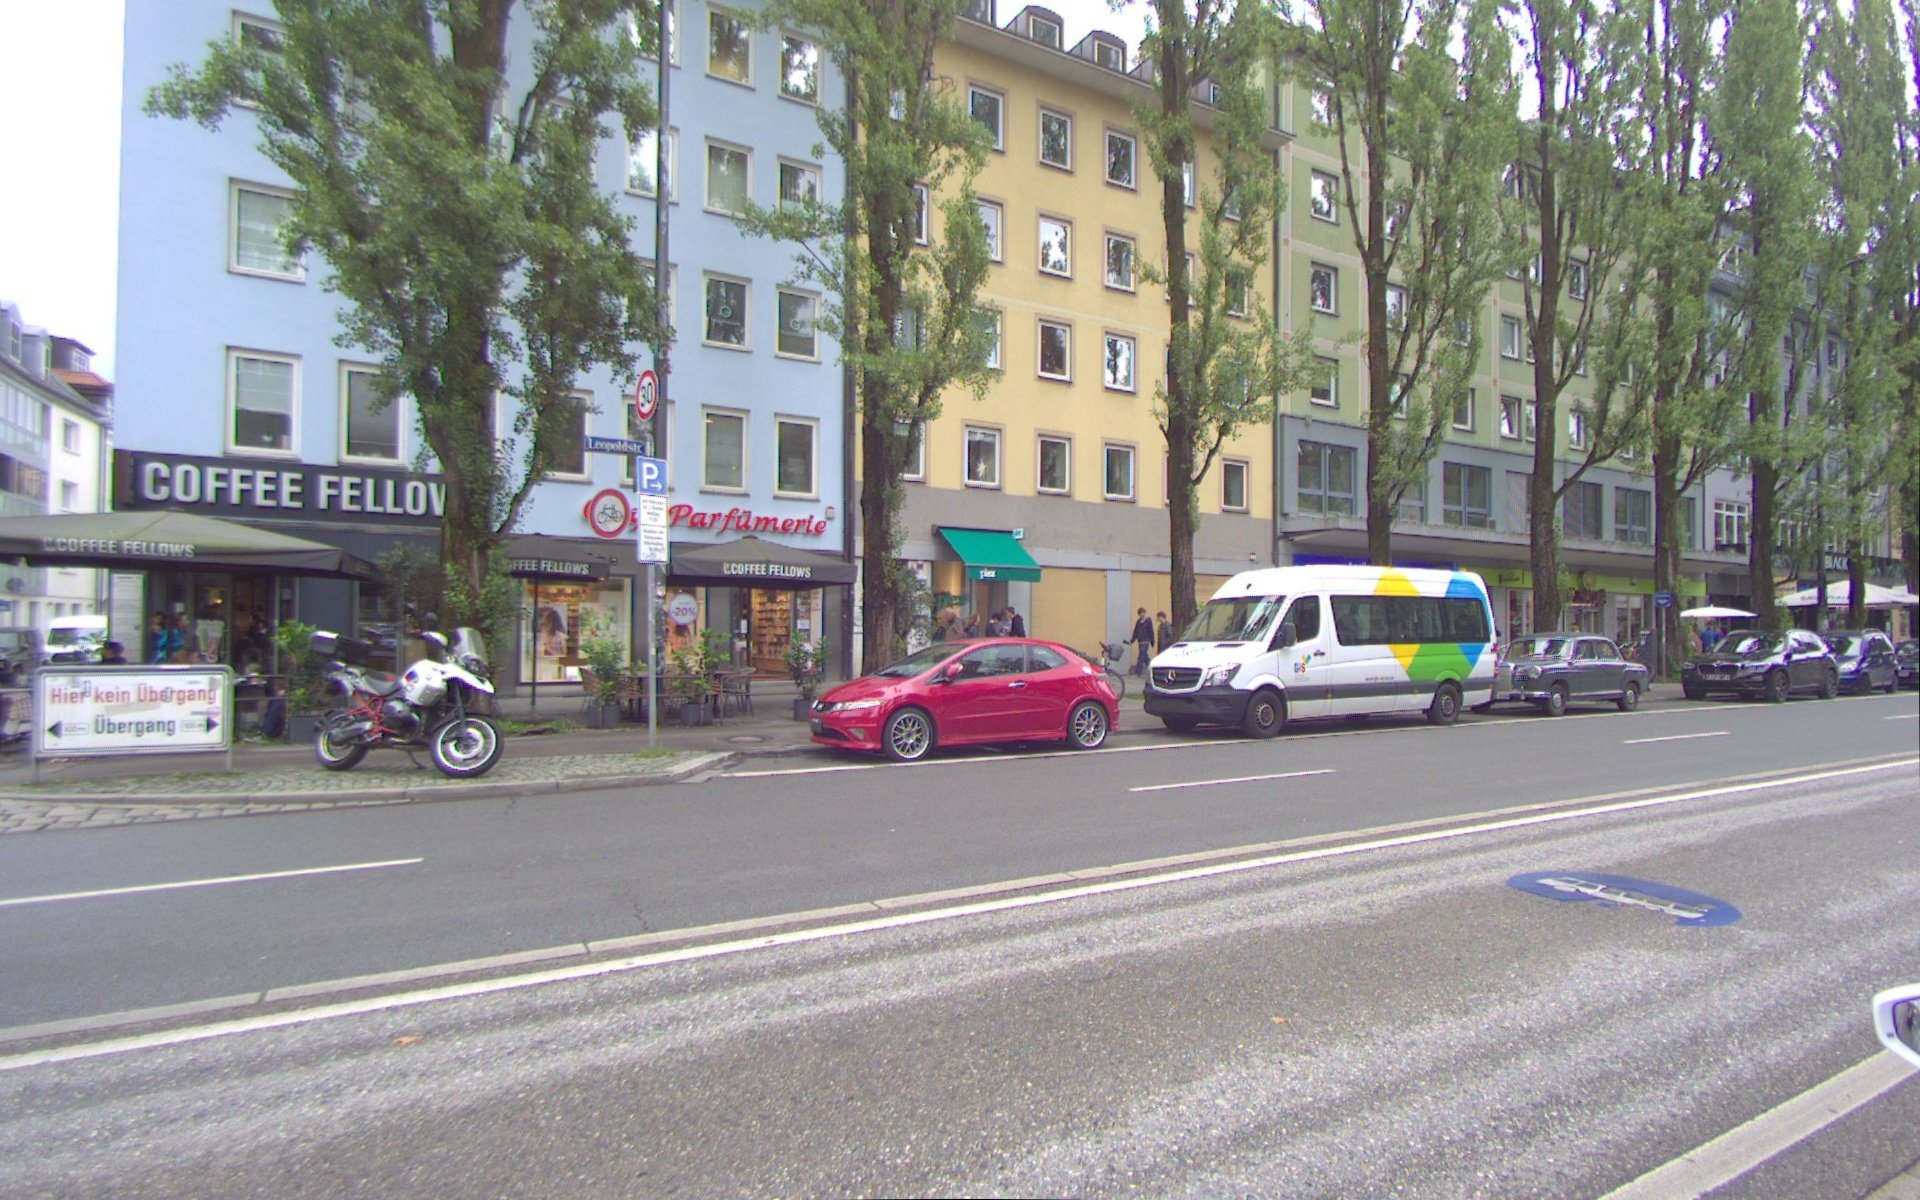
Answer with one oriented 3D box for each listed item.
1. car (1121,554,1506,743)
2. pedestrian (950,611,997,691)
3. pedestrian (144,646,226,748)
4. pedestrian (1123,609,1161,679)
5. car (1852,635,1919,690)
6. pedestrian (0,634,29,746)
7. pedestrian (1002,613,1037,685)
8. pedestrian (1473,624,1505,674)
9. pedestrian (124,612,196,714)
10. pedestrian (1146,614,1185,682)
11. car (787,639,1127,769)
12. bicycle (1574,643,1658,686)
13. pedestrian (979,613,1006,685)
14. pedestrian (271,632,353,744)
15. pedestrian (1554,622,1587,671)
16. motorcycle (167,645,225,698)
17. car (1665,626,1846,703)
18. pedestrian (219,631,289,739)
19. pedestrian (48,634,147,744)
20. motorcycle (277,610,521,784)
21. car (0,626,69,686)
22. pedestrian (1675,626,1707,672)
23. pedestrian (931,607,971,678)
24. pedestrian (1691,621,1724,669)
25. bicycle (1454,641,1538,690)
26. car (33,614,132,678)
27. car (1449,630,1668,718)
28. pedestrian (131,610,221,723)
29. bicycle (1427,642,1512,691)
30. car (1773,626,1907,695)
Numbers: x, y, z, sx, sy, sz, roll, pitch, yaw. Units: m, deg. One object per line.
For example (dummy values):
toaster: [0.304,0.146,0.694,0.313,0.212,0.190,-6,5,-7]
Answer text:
car: [5.941,0.777,16.445,6.831,2.601,1.996,1,-3,-30]
pedestrian: [0.299,1.108,22.079,0.775,1.708,0.753,1,-2,-27]
pedestrian: [-9.616,1.183,12.487,0.692,1.198,0.811,1,-2,-31]
pedestrian: [4.835,1.159,26.704,0.717,1.818,0.695,1,-2,-25]
car: [28.248,1.801,29.508,4.299,1.508,1.790,1,-3,-30]
pedestrian: [-12.410,1.122,12.566,0.938,1.380,0.695,1,-2,-27]
pedestrian: [1.376,1.130,23.343,0.713,1.657,0.699,0,-1,-6]
pedestrian: [18.341,1.686,34.843,0.749,1.708,0.670,2,-2,-29]
pedestrian: [-14.526,1.121,18.238,0.933,1.796,0.699,-1,-2,30]
pedestrian: [5.289,1.221,25.828,0.717,1.722,0.695,1,-2,-25]
car: [0.005,1.231,12.968,4.100,1.438,1.729,1,-3,-30]
bicycle: [19.279,1.868,29.571,0.712,1.110,1.933,1,1,-36]
pedestrian: [0.762,1.139,23.518,0.553,1.657,0.699,0,-1,-6]
pedestrian: [-8.334,1.110,12.962,0.838,1.380,0.694,1,-2,-31]
pedestrian: [21.515,1.637,35.423,0.667,1.708,0.753,2,-2,-29]
motorcycle: [-19.258,1.764,25.366,0.729,1.219,2.748,-1,-1,-28]
car: [19.102,1.511,24.080,4.557,1.686,1.858,1,-3,-30]
pedestrian: [-9.295,1.096,13.251,0.692,1.380,0.709,1,-2,-32]
pedestrian: [-11.211,1.134,13.081,0.808,1.380,0.695,1,-2,-27]
motorcycle: [-5.566,0.904,9.965,2.301,1.584,0.715,1,0,18]
car: [-30.050,1.764,31.610,2.093,1.789,4.551,1,-3,-30]
pedestrian: [27.395,1.824,37.626,0.667,1.708,0.753,2,-2,-29]
pedestrian: [-0.222,1.000,23.954,0.718,1.657,0.695,1,-2,-28]
pedestrian: [26.990,1.610,36.274,0.667,1.708,0.753,2,-2,-29]
bicycle: [13.993,1.690,26.273,0.710,1.110,1.862,1,1,-27]
car: [-34.701,1.830,39.856,1.959,2.396,4.554,1,-3,-29]
car: [11.962,1.419,20.032,4.362,1.572,1.858,1,-3,-30]
pedestrian: [-11.992,1.002,15.396,0.938,1.668,0.695,1,-2,-28]
bicycle: [12.972,1.671,25.632,0.710,1.110,1.862,1,1,-27]
car: [23.632,1.597,26.956,3.880,1.743,1.700,1,-3,-33]
